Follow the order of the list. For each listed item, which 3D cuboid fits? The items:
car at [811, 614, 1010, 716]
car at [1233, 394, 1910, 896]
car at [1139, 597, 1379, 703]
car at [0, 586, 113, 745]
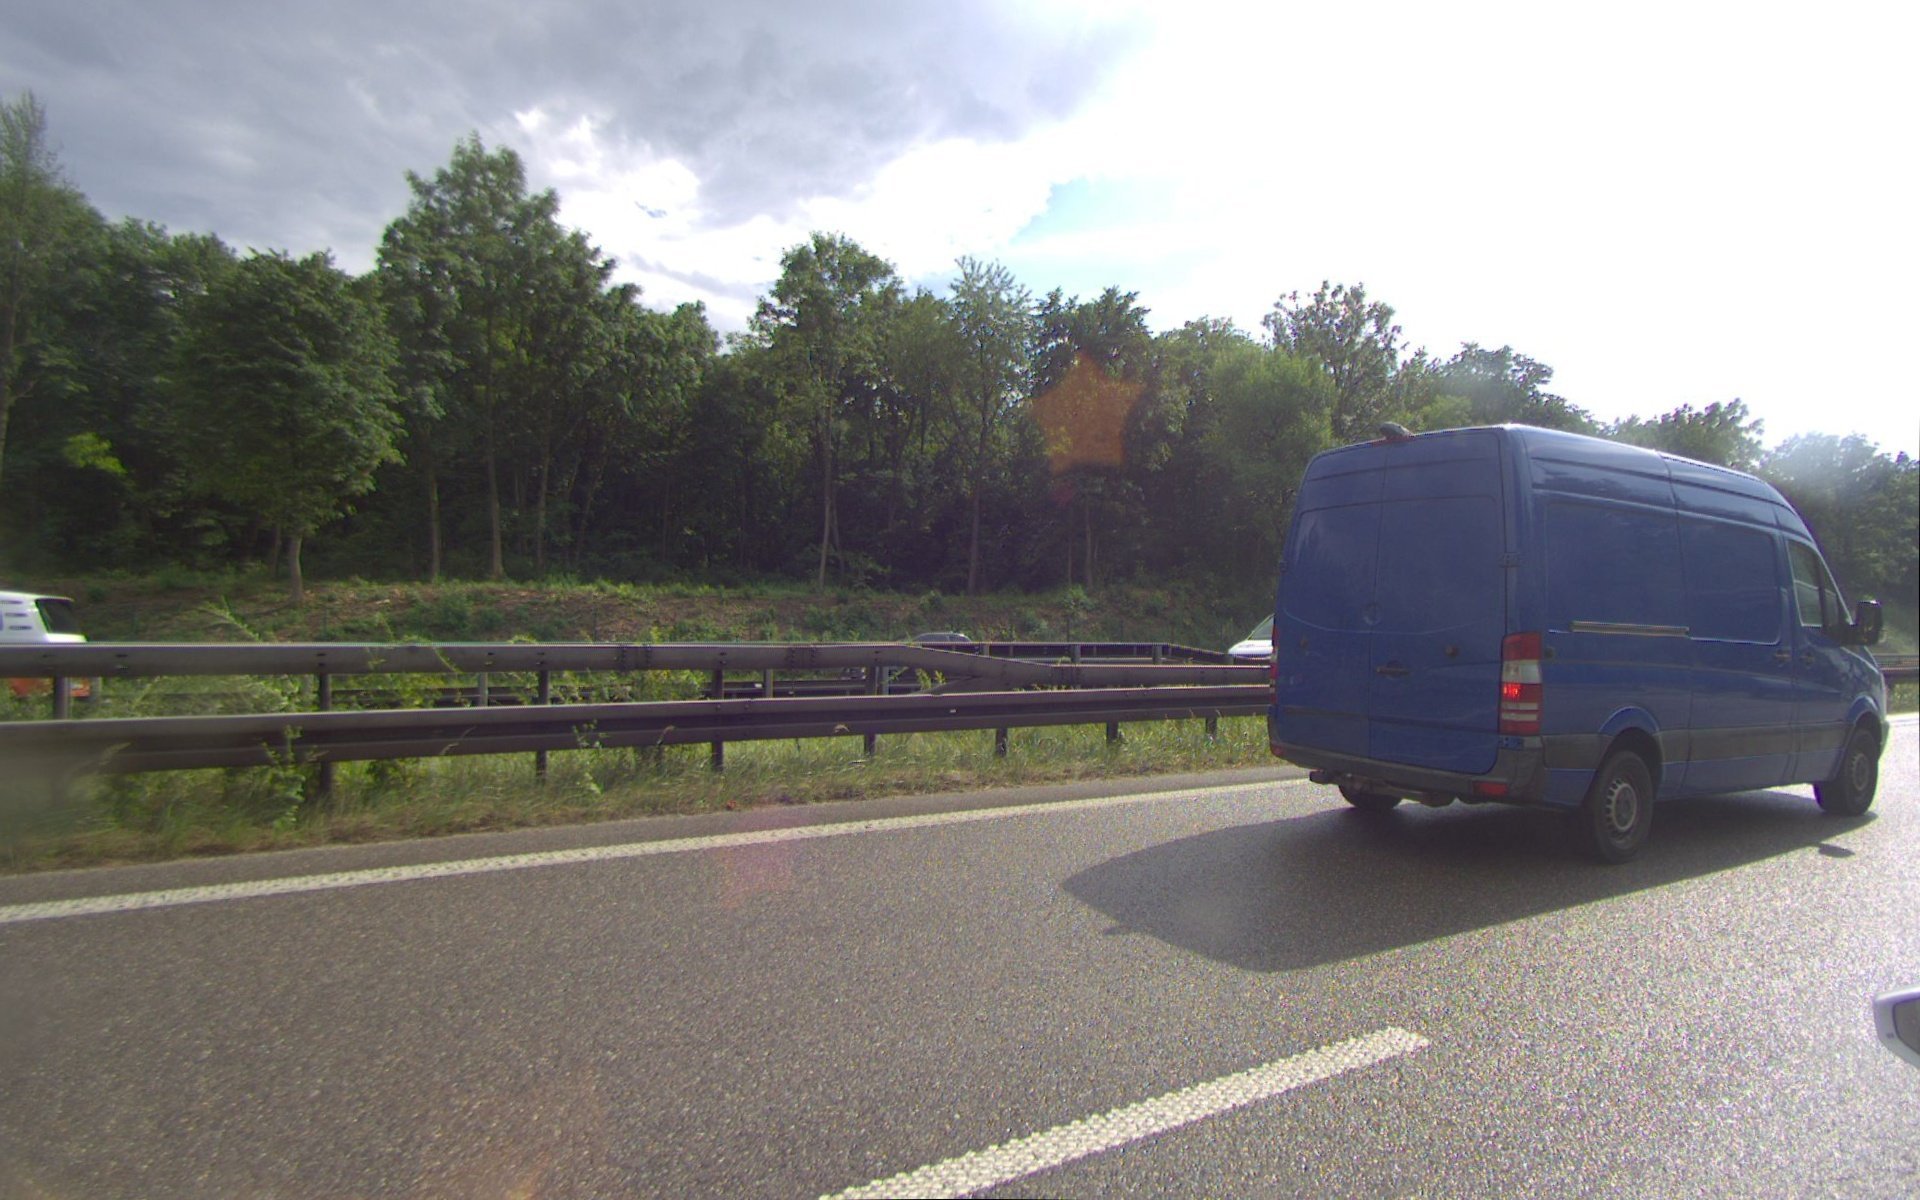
[{"bbox_3d":[-1.080,1.375,22.213,3.953,2.040,1.984,1,-1,-30],"label":"car"},{"bbox_3d":[4.898,0.304,7.708,5.710,2.684,2.005,2,0,-31],"label":"car"},{"bbox_3d":[6.006,0.939,20.042,4.565,1.859,1.984,1,1,-30],"label":"car"},{"bbox_3d":[-13.389,0.781,12.333,4.238,1.936,1.915,1,-1,-30],"label":"car"}]
